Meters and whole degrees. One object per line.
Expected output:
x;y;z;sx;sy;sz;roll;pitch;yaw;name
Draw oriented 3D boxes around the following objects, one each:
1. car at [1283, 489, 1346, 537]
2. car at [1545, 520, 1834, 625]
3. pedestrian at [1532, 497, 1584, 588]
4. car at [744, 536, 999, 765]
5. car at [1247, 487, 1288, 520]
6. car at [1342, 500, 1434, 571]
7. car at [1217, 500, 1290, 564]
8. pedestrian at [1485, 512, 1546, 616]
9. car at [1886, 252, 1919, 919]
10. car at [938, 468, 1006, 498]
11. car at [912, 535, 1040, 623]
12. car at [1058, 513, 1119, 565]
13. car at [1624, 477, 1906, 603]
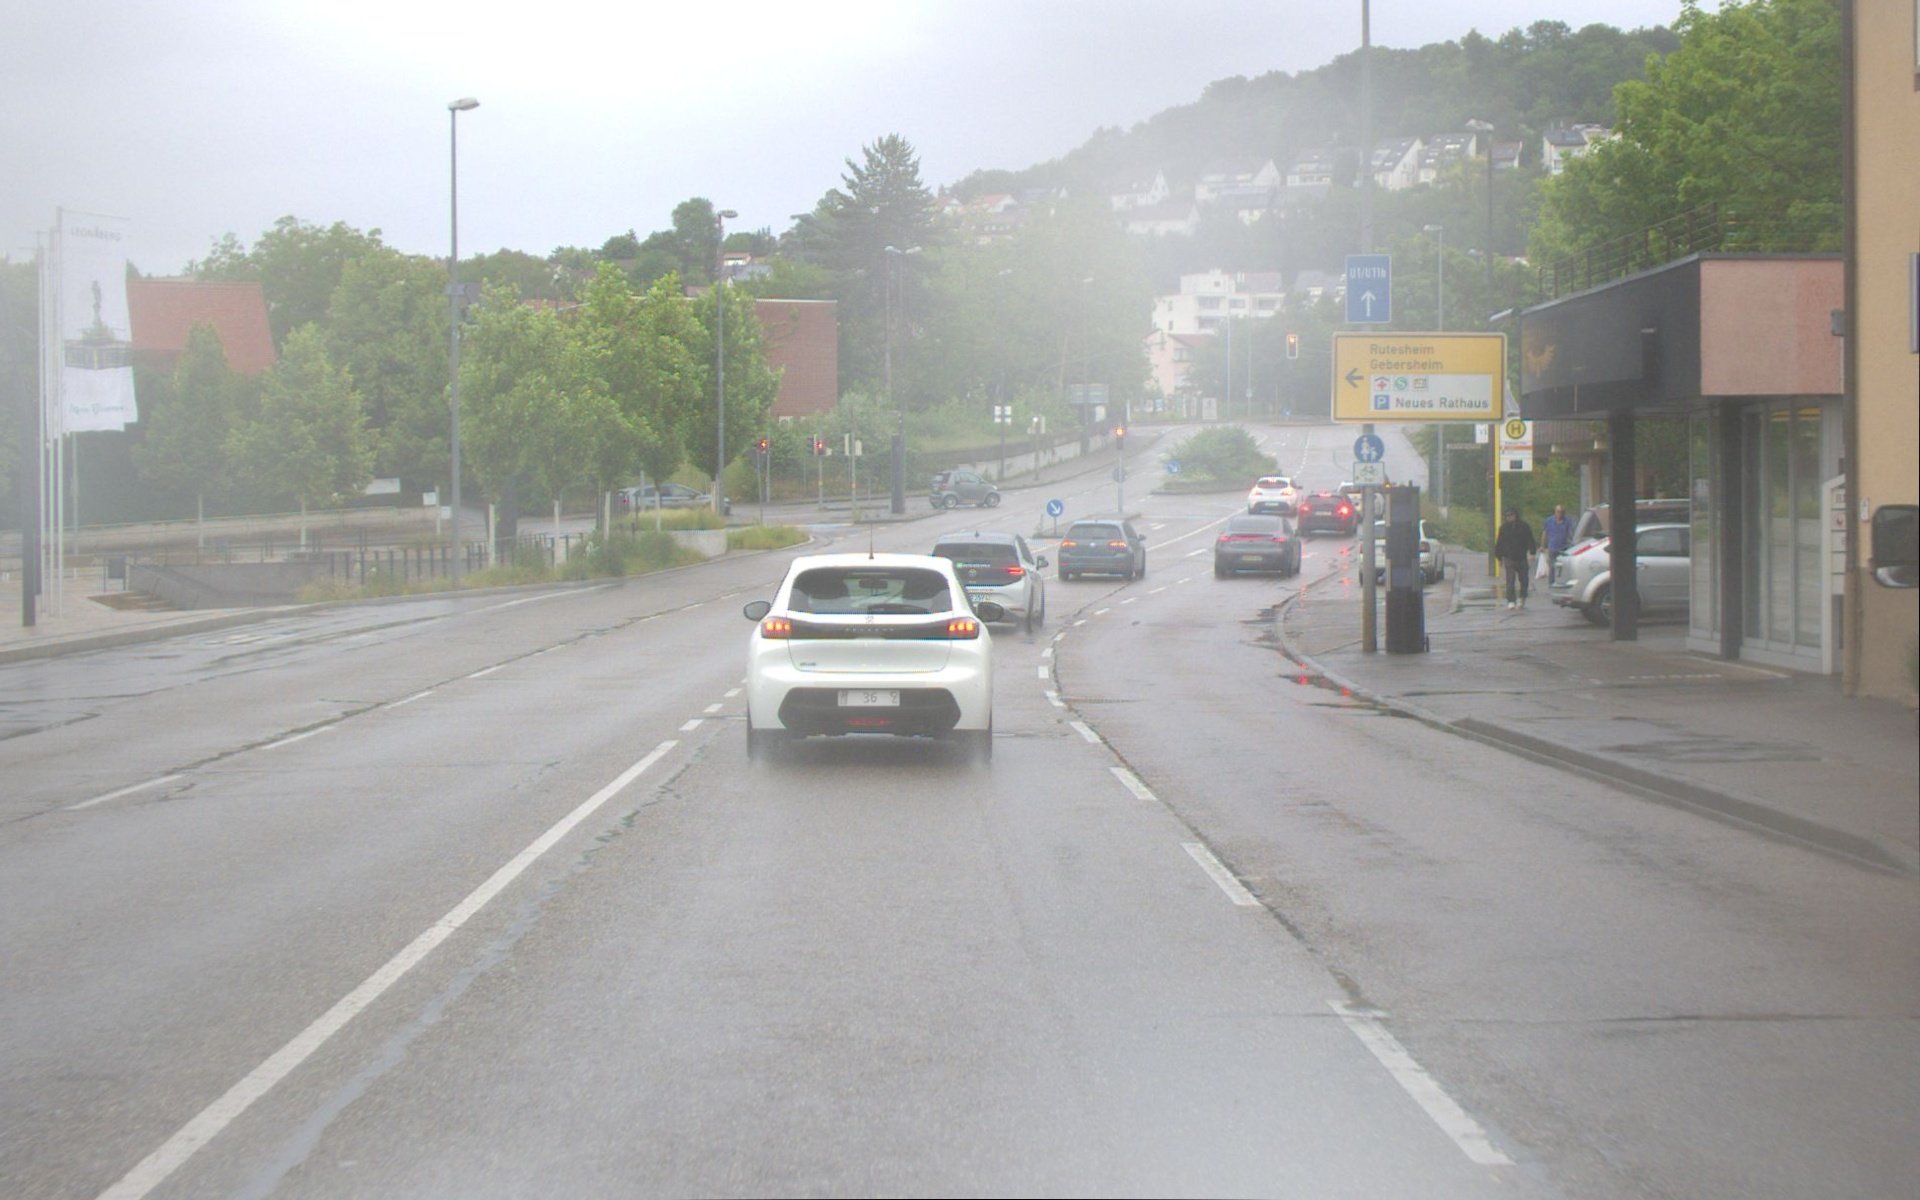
11.866;-2.917;115.235;1.647;1.480;3.366;-1;0;-1;car
10.779;-0.418;50.990;3.987;1.442;1.746;-1;2;5;car
11.701;-1.130;67.274;0.875;1.731;0.760;-2;2;2;pedestrian
-0.606;0.358;24.873;1.691;1.514;3.933;0;-1;0;car
11.518;-3.595;128.782;1.385;1.123;2.610;-1;0;3;car
9.853;-1.501;78.937;1.731;1.492;4.479;-2;2;11;car
7.262;-1.695;85.349;1.734;1.383;3.352;1;4;4;car
9.850;-0.630;60.972;0.708;1.815;0.797;-1;0;-26;pedestrian
4.378;-0.021;11.304;2.292;2.374;6.621;-1;0;13;car
0.488;-4.747;139.664;2.418;1.153;1.371;-1;0;-27;car
0.284;-0.346;53.570;1.741;1.291;3.333;-1;1;4;car
3.052;-1.431;81.150;1.213;1.152;2.269;-1;0;8;car
12.730;-0.964;54.552;4.095;1.864;1.876;-1;2;5;car
